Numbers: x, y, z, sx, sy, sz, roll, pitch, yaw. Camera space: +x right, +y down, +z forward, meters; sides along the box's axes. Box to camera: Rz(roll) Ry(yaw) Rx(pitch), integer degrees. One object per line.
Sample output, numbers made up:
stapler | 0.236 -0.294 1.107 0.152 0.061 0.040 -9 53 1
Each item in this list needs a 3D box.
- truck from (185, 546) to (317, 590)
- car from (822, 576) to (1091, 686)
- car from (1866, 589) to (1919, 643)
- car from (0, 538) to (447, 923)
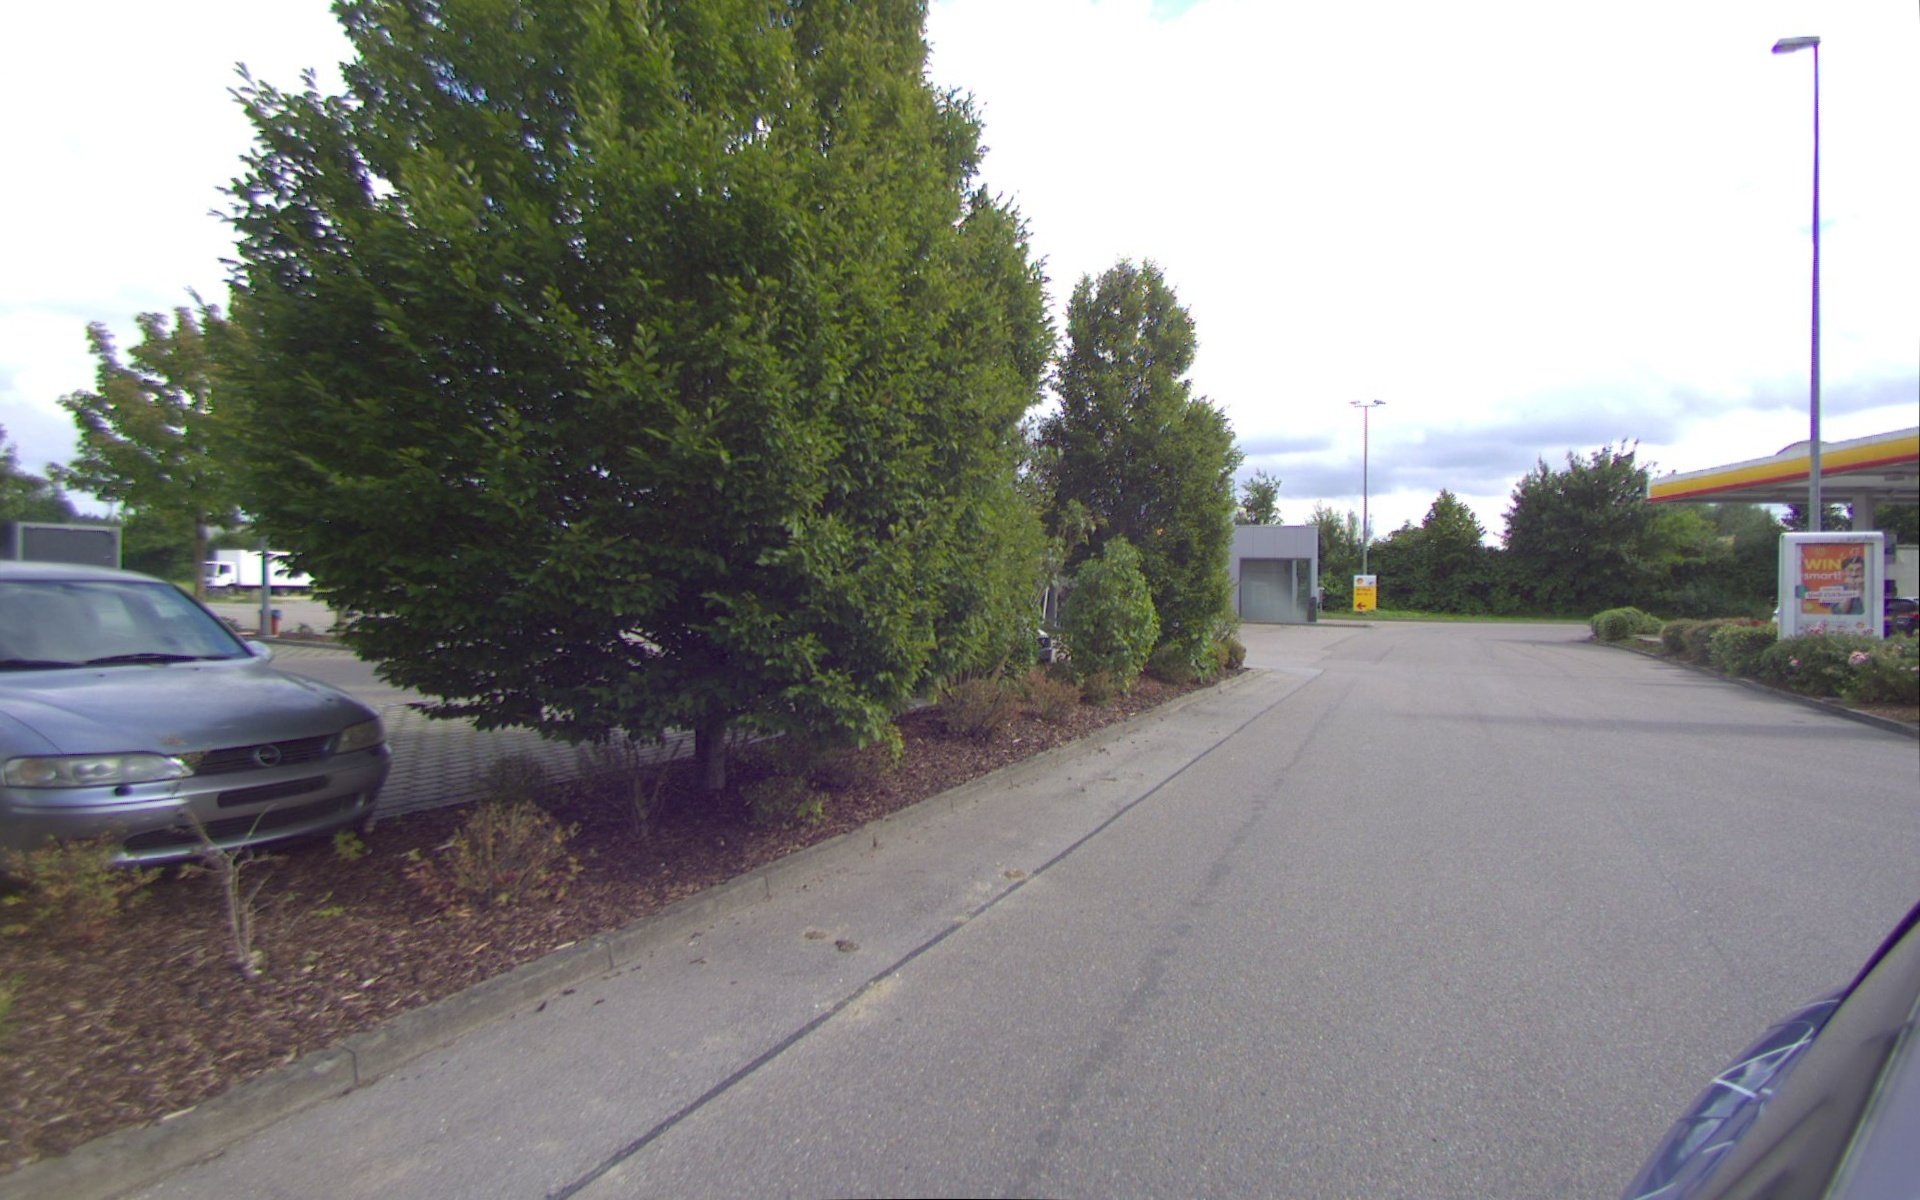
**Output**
truck | -53.839 -2.336 77.149 2.559 3.075 8.273 0 0 21
car | -0.091 0.407 15.727 3.851 1.453 1.707 2 1 30
car | 29.506 0.472 31.219 3.930 1.594 1.848 0 0 -41
car | -4.762 0.439 5.231 3.958 1.367 1.711 1 0 25
